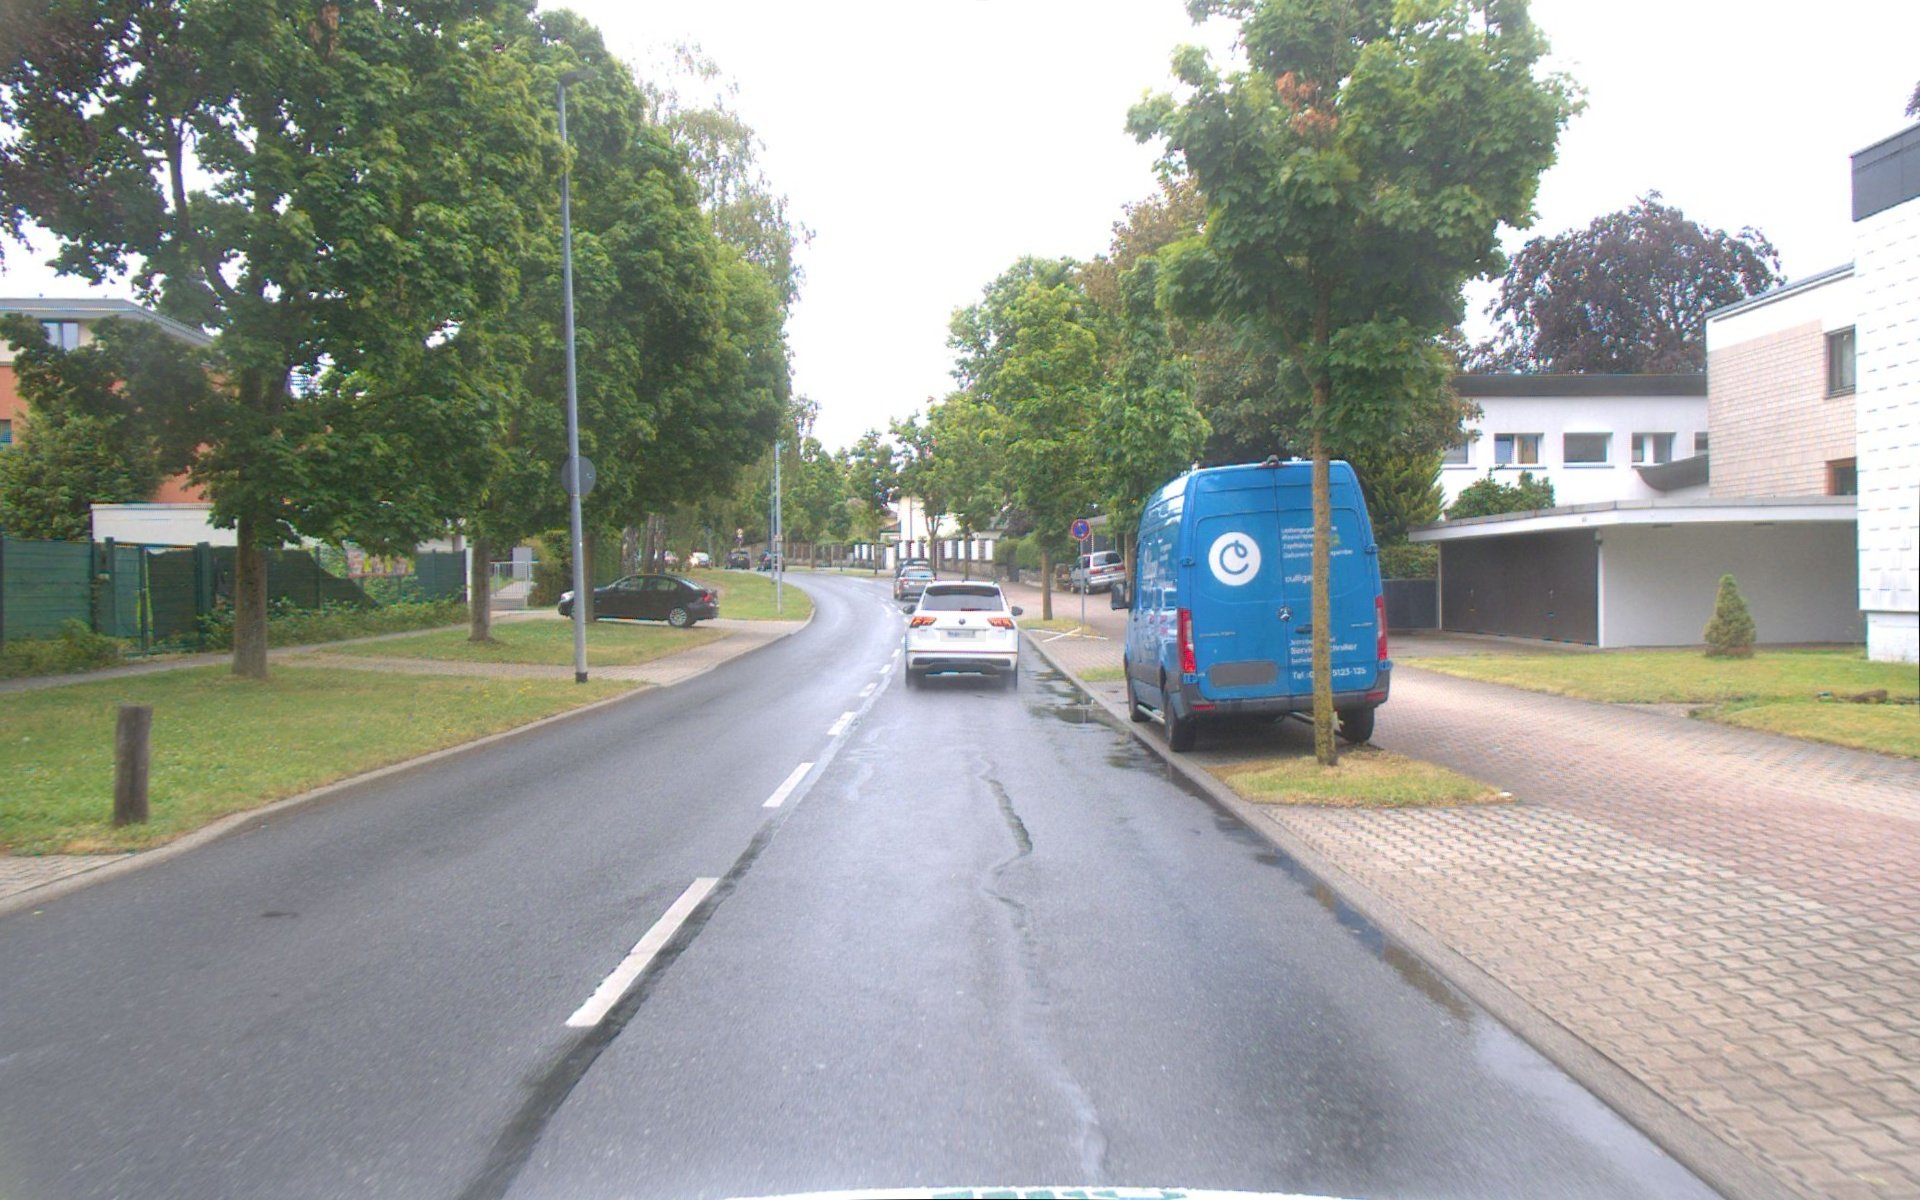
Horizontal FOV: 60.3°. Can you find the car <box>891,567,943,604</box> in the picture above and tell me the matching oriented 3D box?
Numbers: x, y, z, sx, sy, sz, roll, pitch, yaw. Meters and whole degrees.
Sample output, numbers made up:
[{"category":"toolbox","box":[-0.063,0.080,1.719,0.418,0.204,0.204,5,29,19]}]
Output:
[{"category":"car","box":[-1.906,-0.630,72.855,1.737,1.578,3.991,-1,0,-10]}]

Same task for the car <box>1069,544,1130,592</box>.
[{"category":"car","box":[6.114,-1.446,72.971,1.790,1.732,3.996,-9,3,-5]}]

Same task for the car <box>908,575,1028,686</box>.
[{"category":"car","box":[0.085,0.443,27.236,1.827,1.679,3.999,0,1,-1]}]

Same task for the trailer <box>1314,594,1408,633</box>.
[{"category":"trailer","box":[9.776,0.320,40.393,1.999,0.899,1.365,1,0,2]}]

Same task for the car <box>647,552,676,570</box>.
[{"category":"car","box":[-25.302,-3.327,140.044,1.741,1.452,3.977,0,2,-20]}]

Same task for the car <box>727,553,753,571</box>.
[{"category":"car","box":[-19.026,-3.303,142.869,1.616,1.452,3.981,0,2,-17]}]

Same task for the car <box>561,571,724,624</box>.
[{"category":"car","box":[-8.795,-0.084,46.021,4.130,1.386,1.691,1,0,4]}]

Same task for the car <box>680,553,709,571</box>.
[{"category":"car","box":[-22.730,-3.232,141.589,1.741,1.452,3.977,0,2,-20]}]

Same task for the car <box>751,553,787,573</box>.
[{"category":"car","box":[-14.660,-2.855,126.639,1.621,1.452,3.971,0,2,-24]}]

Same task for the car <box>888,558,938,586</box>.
[{"category":"car","box":[-2.603,-1.541,91.381,1.618,1.452,3.978,0,2,-19]}]

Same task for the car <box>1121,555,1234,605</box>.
[{"category":"car","box":[8.157,-0.766,62.264,3.909,1.738,1.828,1,3,-5]}]

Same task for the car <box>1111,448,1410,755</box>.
[{"category":"car","box":[2.923,-0.020,17.454,1.953,2.631,5.632,-2,1,-1]}]
